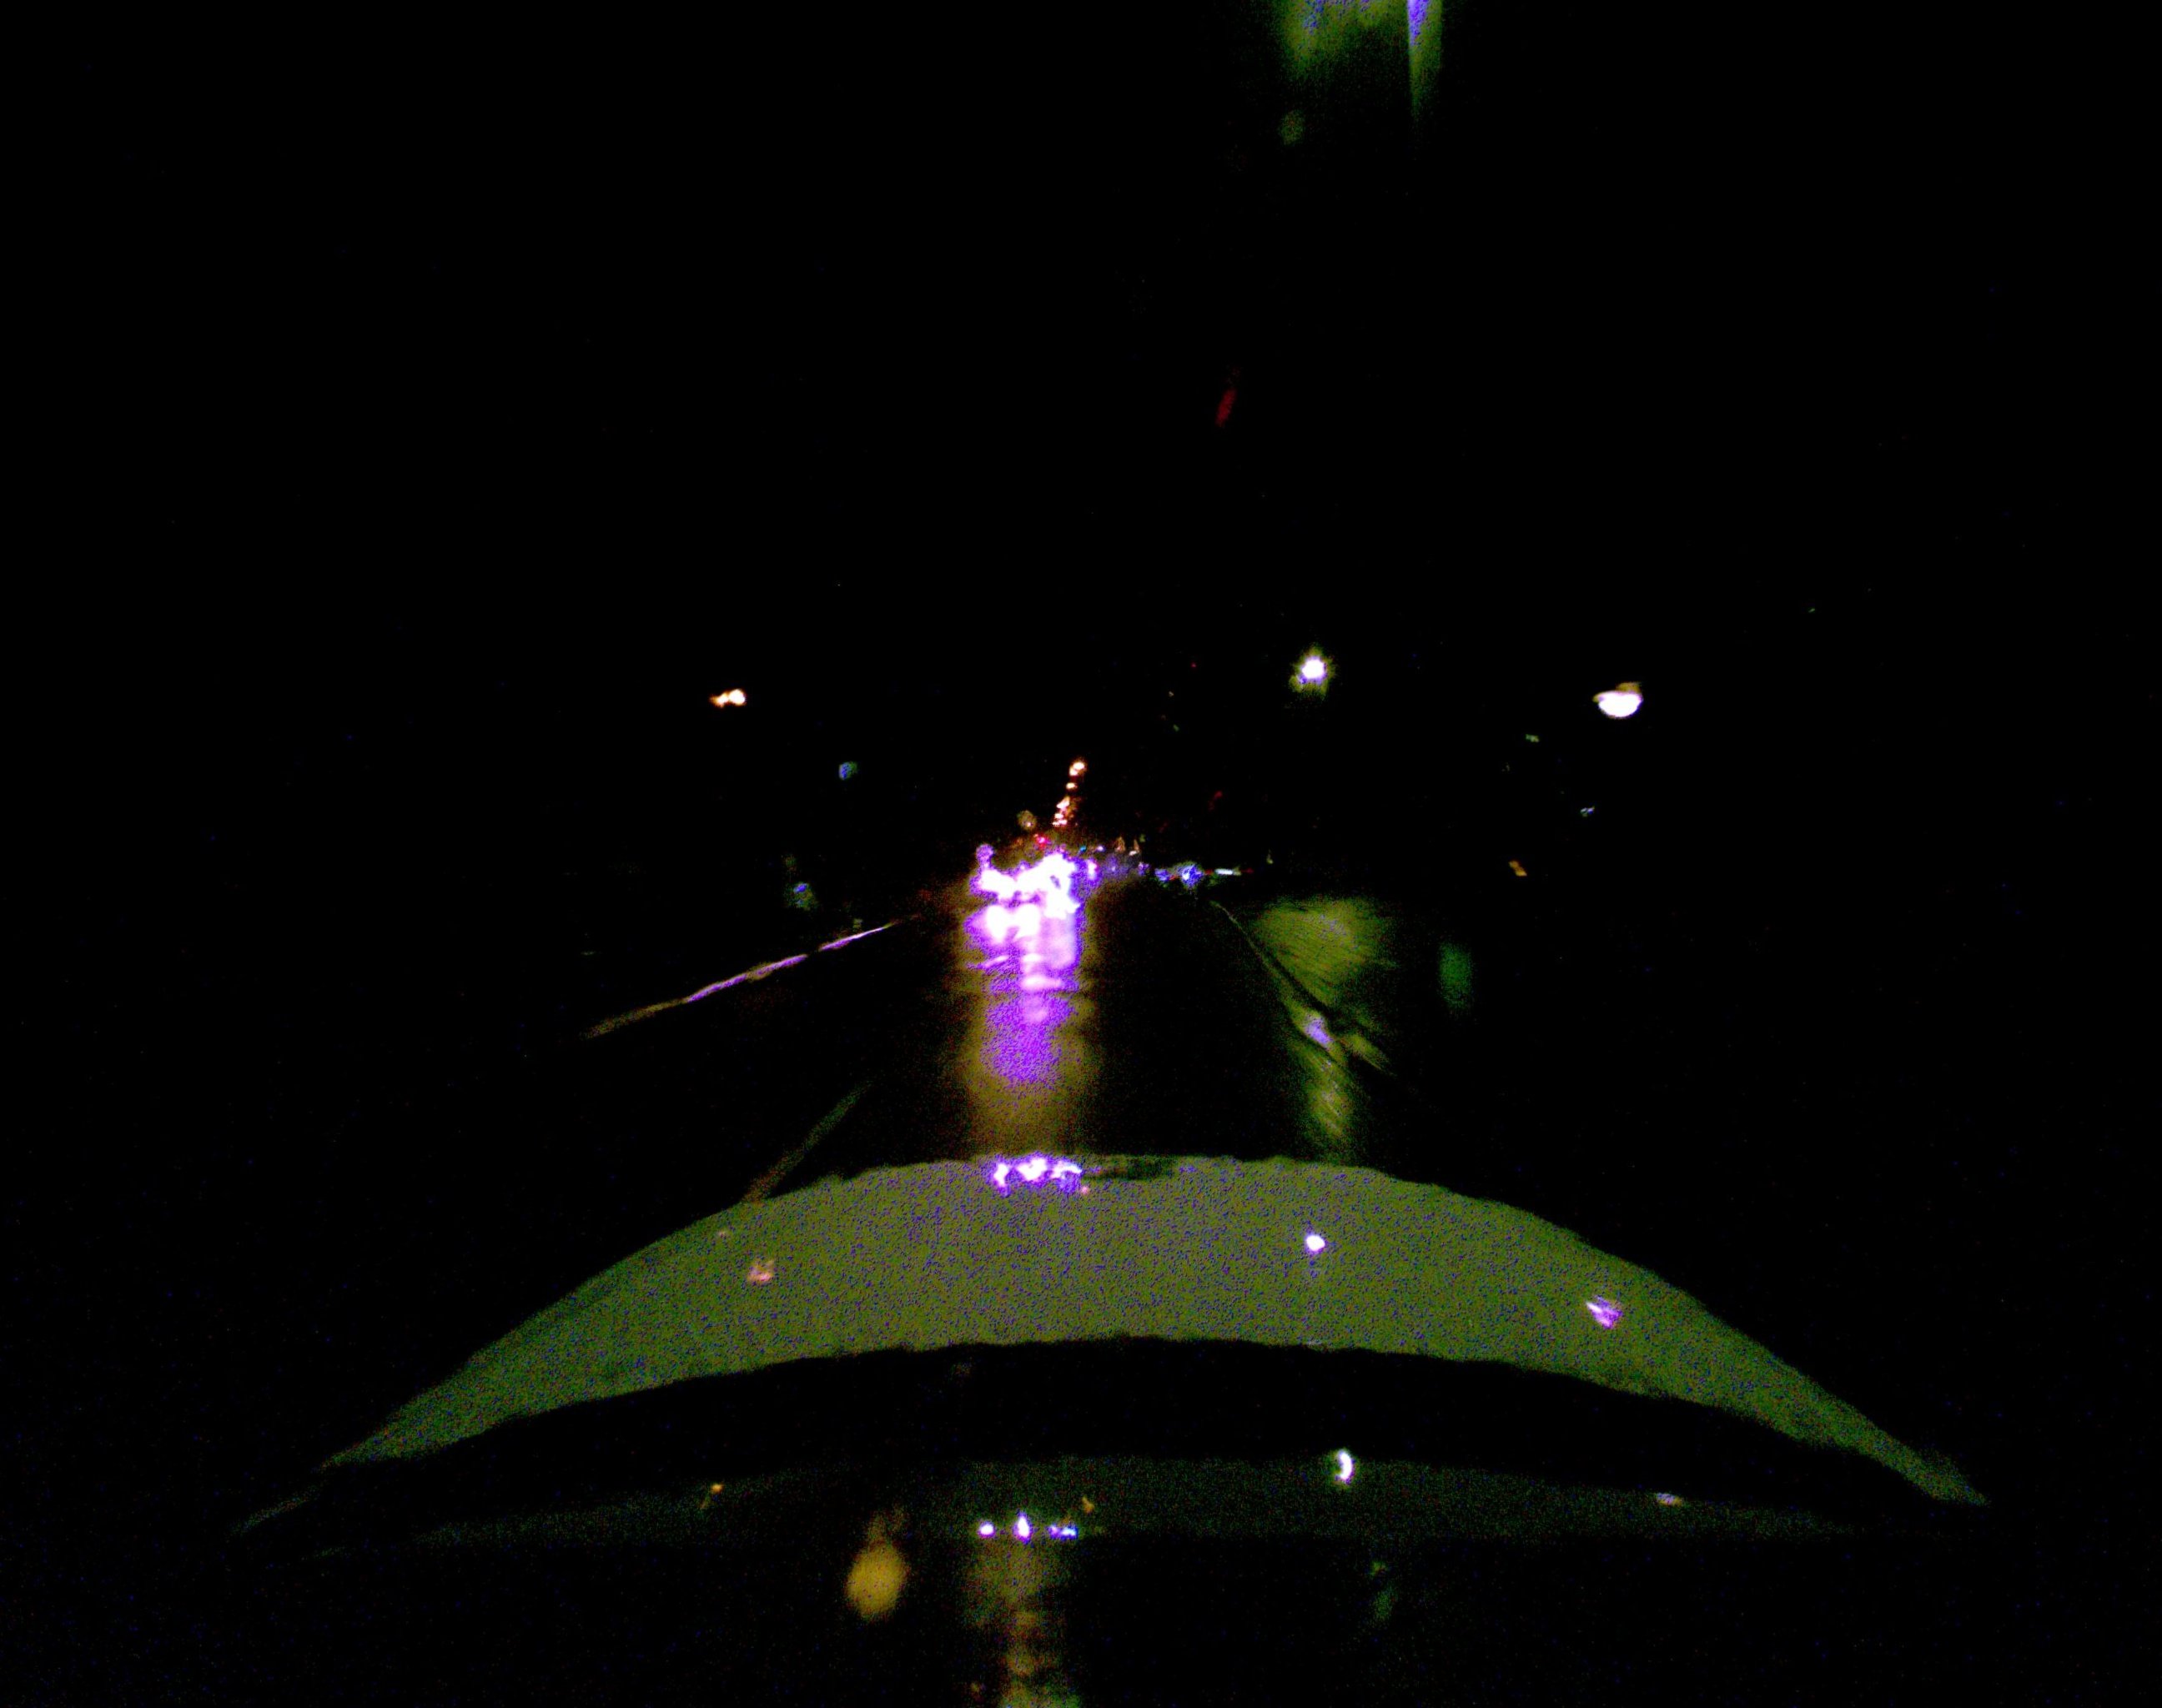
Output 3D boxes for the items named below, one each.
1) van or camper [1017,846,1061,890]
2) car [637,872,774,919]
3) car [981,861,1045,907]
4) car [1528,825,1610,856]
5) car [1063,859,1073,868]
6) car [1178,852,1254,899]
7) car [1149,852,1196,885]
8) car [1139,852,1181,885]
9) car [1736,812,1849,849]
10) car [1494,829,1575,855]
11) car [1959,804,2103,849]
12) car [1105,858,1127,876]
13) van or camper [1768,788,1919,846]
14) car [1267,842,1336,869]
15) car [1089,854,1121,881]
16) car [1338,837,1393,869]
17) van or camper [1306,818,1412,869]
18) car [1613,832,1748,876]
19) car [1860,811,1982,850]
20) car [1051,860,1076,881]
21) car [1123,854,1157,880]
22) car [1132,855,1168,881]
[{"bbox_3d":[-2.143,0.698,42.952,1.863,2.103,4.943,-2,0,1],"label":"van or camper"},{"bbox_3d":[-15.497,1.688,33.781,4.673,1.619,2.000,-3,-1,0],"label":"car"},{"bbox_3d":[-2.396,1.025,29.565,1.738,1.433,4.002,-3,0,2],"label":"car"},{"bbox_3d":[24.326,-0.623,40.785,1.672,1.413,4.263,-2,0,2],"label":"car"},{"bbox_3d":[-2.642,1.847,160.024,1.808,1.709,3.800,-4,0,-2],"label":"car"},{"bbox_3d":[4.845,0.735,29.908,1.785,1.449,4.787,-4,0,-2],"label":"car"},{"bbox_3d":[4.545,0.726,41.000,1.708,1.489,4.433,-3,-1,-2],"label":"car"},{"bbox_3d":[4.506,0.787,46.858,1.709,1.707,4.182,-5,0,-3],"label":"car"},{"bbox_3d":[40.159,-1.285,46.036,4.636,1.805,1.908,-3,-1,1],"label":"car"},{"bbox_3d":[27.686,-0.729,49.774,3.977,1.353,1.680,-3,0,-3],"label":"car"},{"bbox_3d":[39.245,-1.125,33.701,3.973,1.616,1.669,-2,-1,0],"label":"car"},{"bbox_3d":[3.150,1.169,73.930,1.624,1.466,4.507,-4,0,-1],"label":"car"},{"bbox_3d":[38.554,-1.819,41.285,5.360,2.553,2.382,-3,-1,0],"label":"van or camper"},{"bbox_3d":[14.146,0.071,52.382,3.977,1.521,1.684,-3,0,-2],"label":"car"},{"bbox_3d":[1.585,0.924,54.704,1.987,1.684,3.999,-2,-1,0],"label":"car"},{"bbox_3d":[14.249,-0.065,41.008,1.557,1.469,3.408,-3,0,1],"label":"car"},{"bbox_3d":[15.233,-0.571,44.856,5.043,2.527,2.172,-3,0,1],"label":"van or camper"},{"bbox_3d":[21.516,0.021,29.468,1.819,1.468,4.260,-1,-1,1],"label":"car"},{"bbox_3d":[39.591,-1.085,38.427,3.973,1.616,1.669,-2,-1,0],"label":"car"},{"bbox_3d":[-1.284,1.214,60.693,1.791,1.461,4.576,0,0,-1],"label":"car"},{"bbox_3d":[4.149,0.899,57.927,1.876,1.572,4.525,-5,0,-2],"label":"car"},{"bbox_3d":[4.441,0.875,52.724,1.750,1.528,4.150,-4,0,-2],"label":"car"}]
